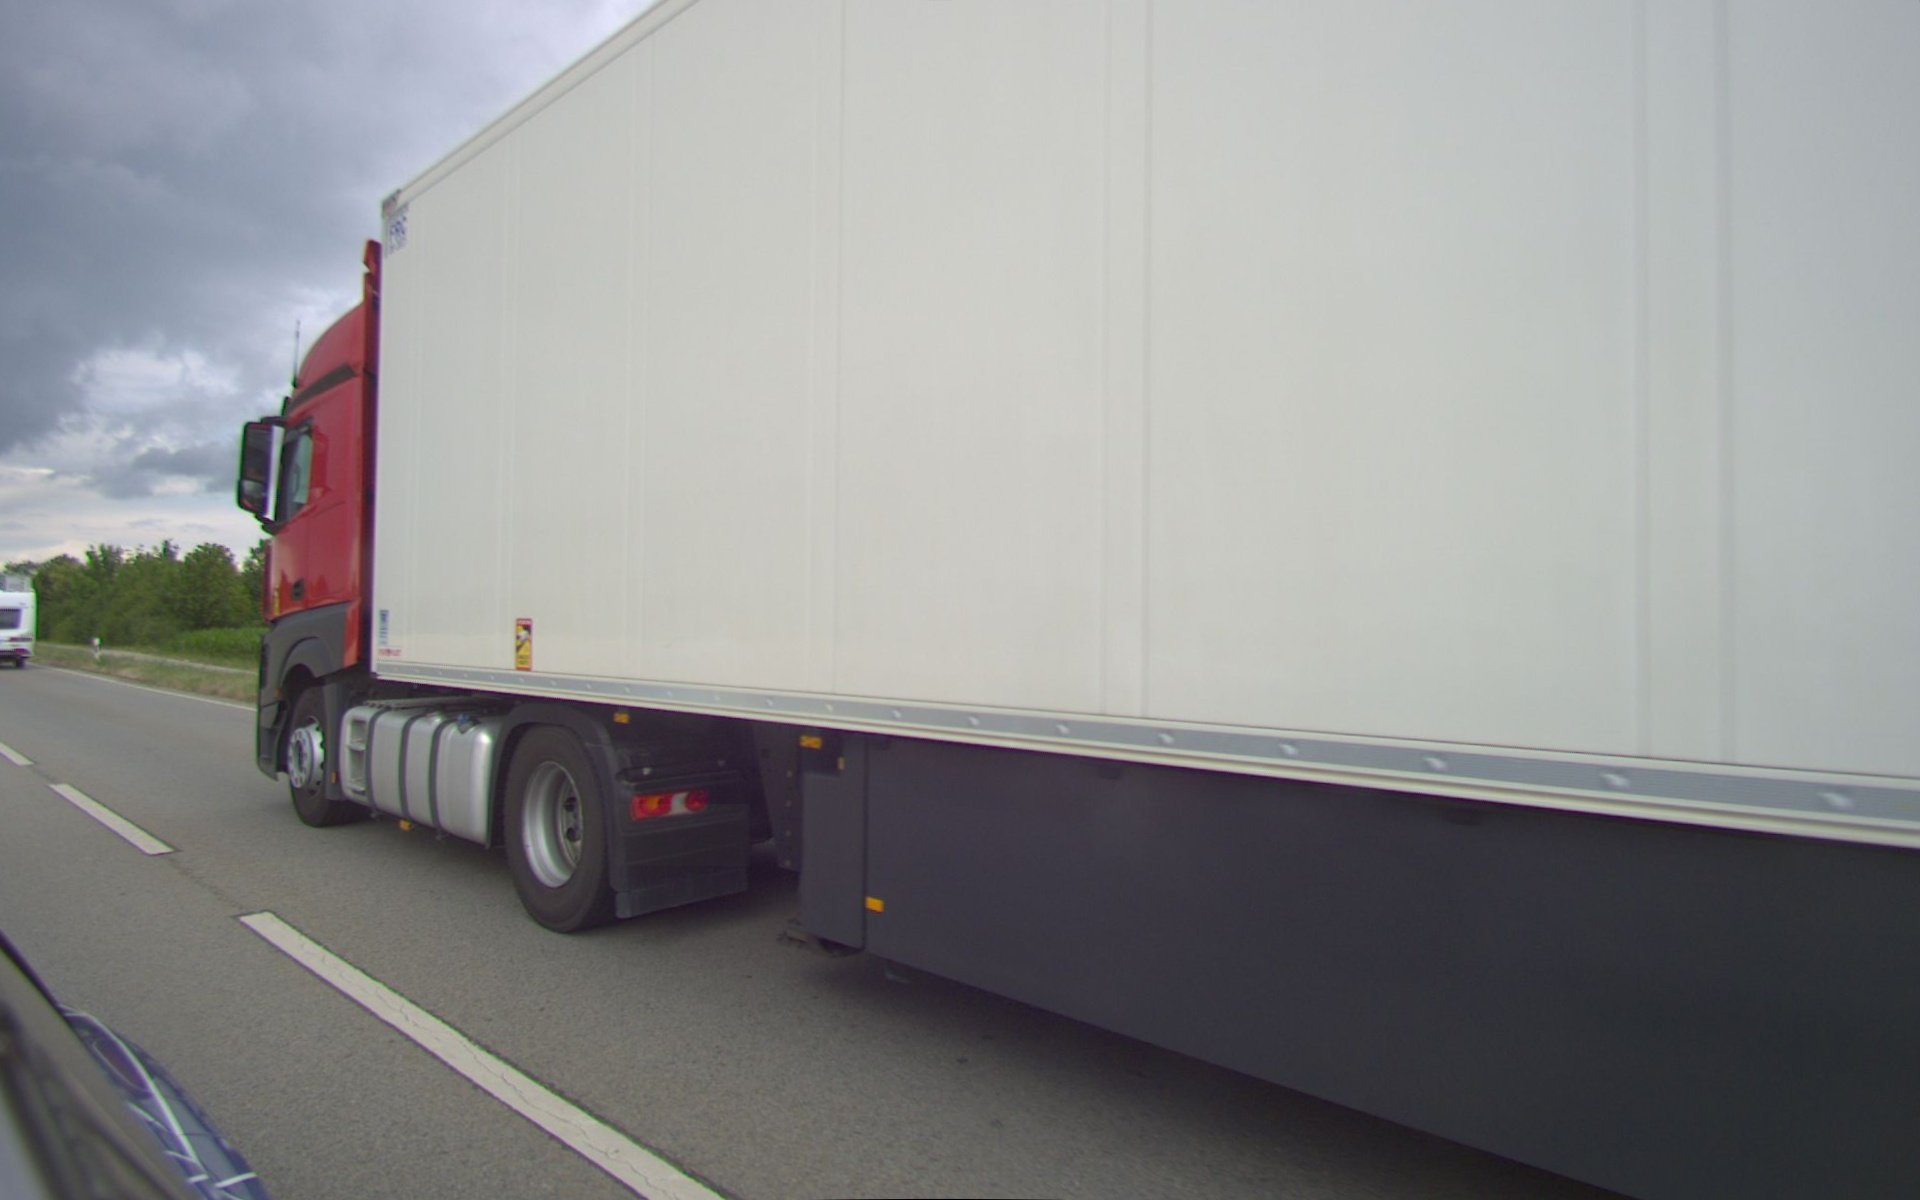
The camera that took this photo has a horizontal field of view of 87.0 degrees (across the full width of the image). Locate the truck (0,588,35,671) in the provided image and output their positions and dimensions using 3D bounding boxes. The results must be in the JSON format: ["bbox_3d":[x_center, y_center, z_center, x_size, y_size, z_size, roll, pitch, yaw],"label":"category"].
[{"bbox_3d":[-35.353,1.024,36.145,11.429,2.679,2.388,-1,-2,43],"label":"truck"}]

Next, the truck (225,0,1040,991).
[{"bbox_3d":[-2.636,-0.491,6.979,6.020,4.152,2.624,-1,-2,41],"label":"truck"}]

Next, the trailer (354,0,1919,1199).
[{"bbox_3d":[2.427,-0.629,2.485,13.760,4.152,2.606,-1,-2,41],"label":"trailer"}]
